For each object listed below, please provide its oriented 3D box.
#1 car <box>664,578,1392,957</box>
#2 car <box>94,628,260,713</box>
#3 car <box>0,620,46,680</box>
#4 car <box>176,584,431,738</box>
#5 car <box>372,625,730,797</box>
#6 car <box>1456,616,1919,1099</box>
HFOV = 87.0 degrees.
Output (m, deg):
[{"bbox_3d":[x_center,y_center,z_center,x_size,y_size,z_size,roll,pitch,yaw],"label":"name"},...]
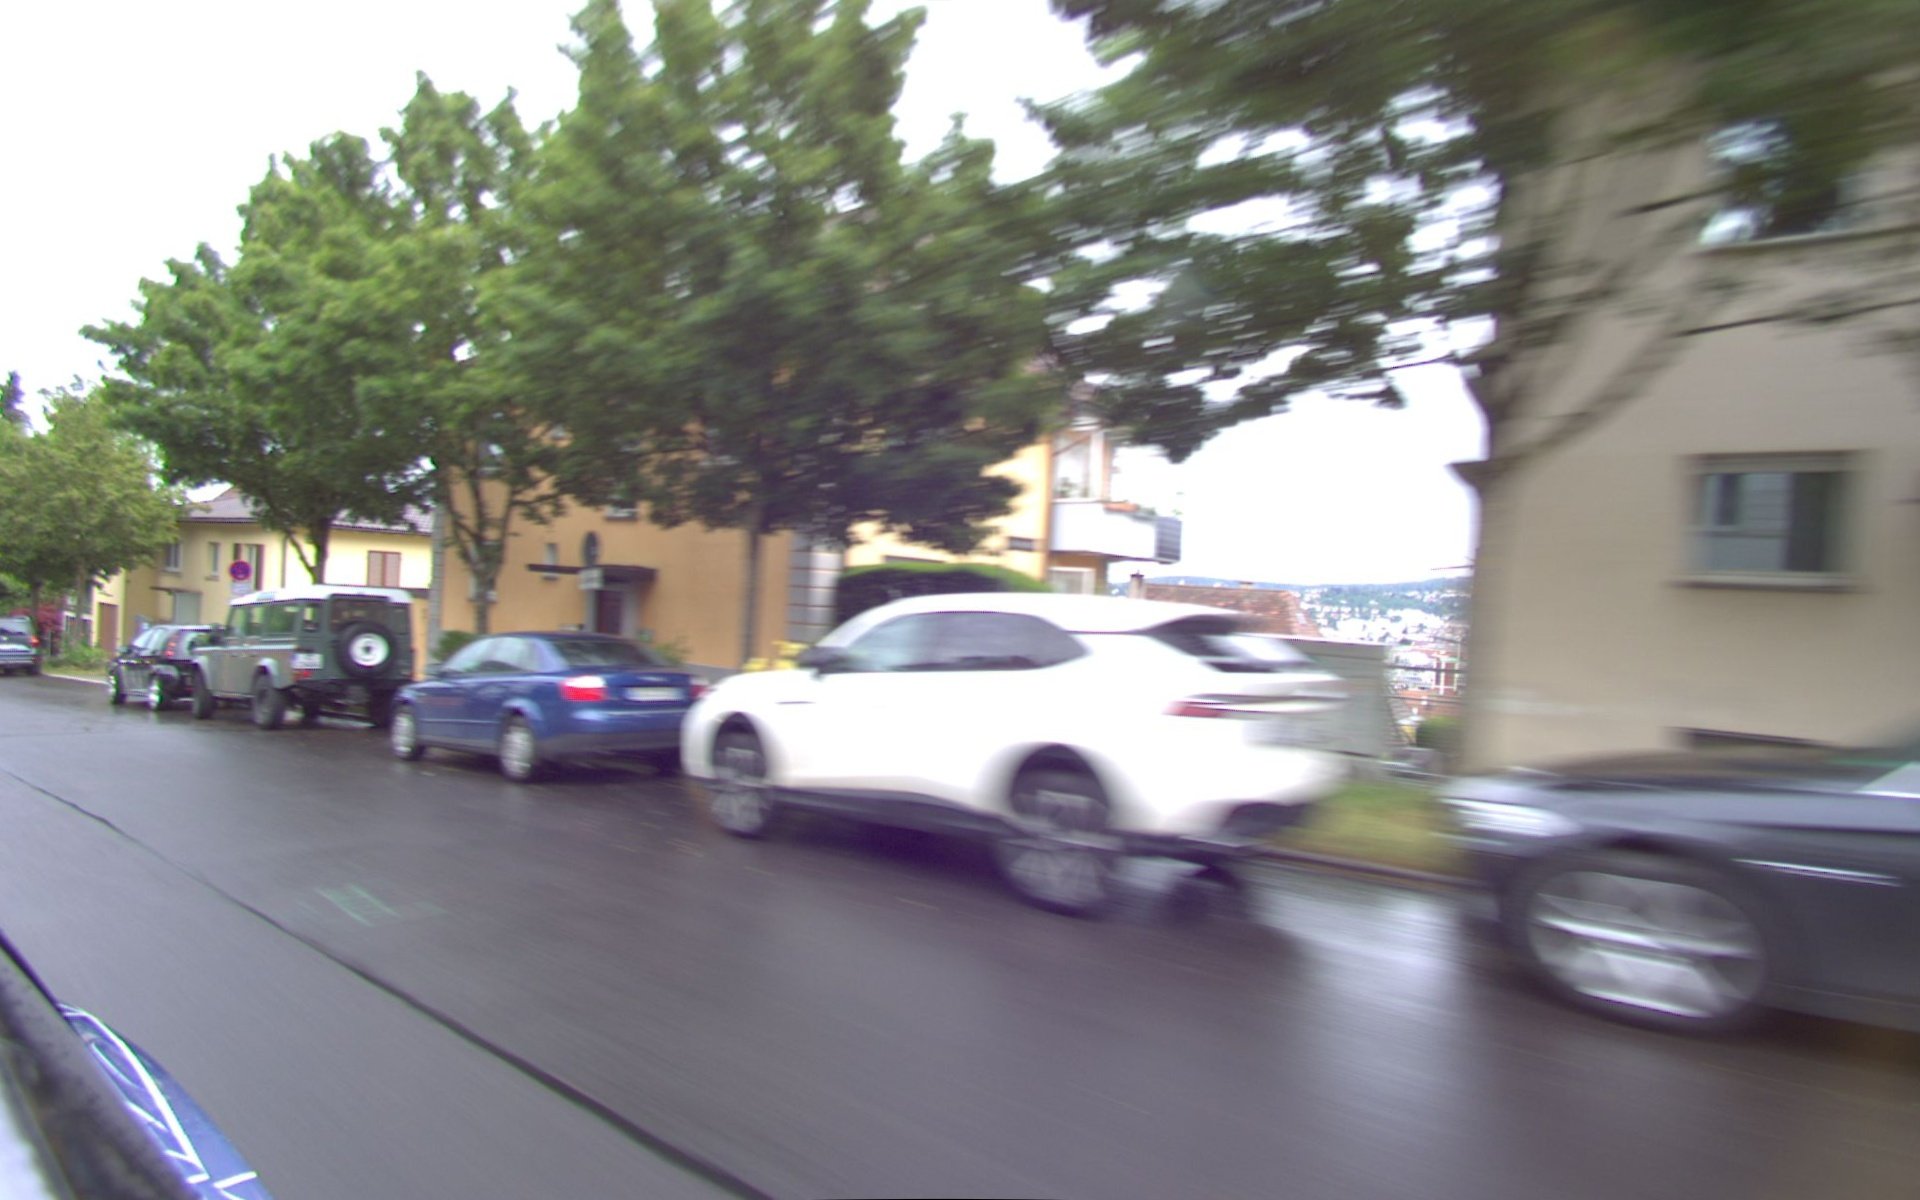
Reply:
[{"bbox_3d":[0.170,0.809,6.532,4.506,1.626,1.789,-1,-4,41],"label":"car"},{"bbox_3d":[-14.322,1.252,18.471,3.535,1.384,1.524,-1,-5,38],"label":"car"},{"bbox_3d":[-27.556,1.372,28.573,4.083,1.612,1.886,-1,-3,38],"label":"car"},{"bbox_3d":[-10.099,0.895,15.439,4.556,2.028,1.800,-1,-5,38],"label":"car"},{"bbox_3d":[-4.392,1.026,10.562,4.264,1.453,1.602,-1,-5,40],"label":"car"},{"bbox_3d":[4.391,0.844,3.283,4.734,1.520,1.803,-1,-3,39],"label":"car"}]
